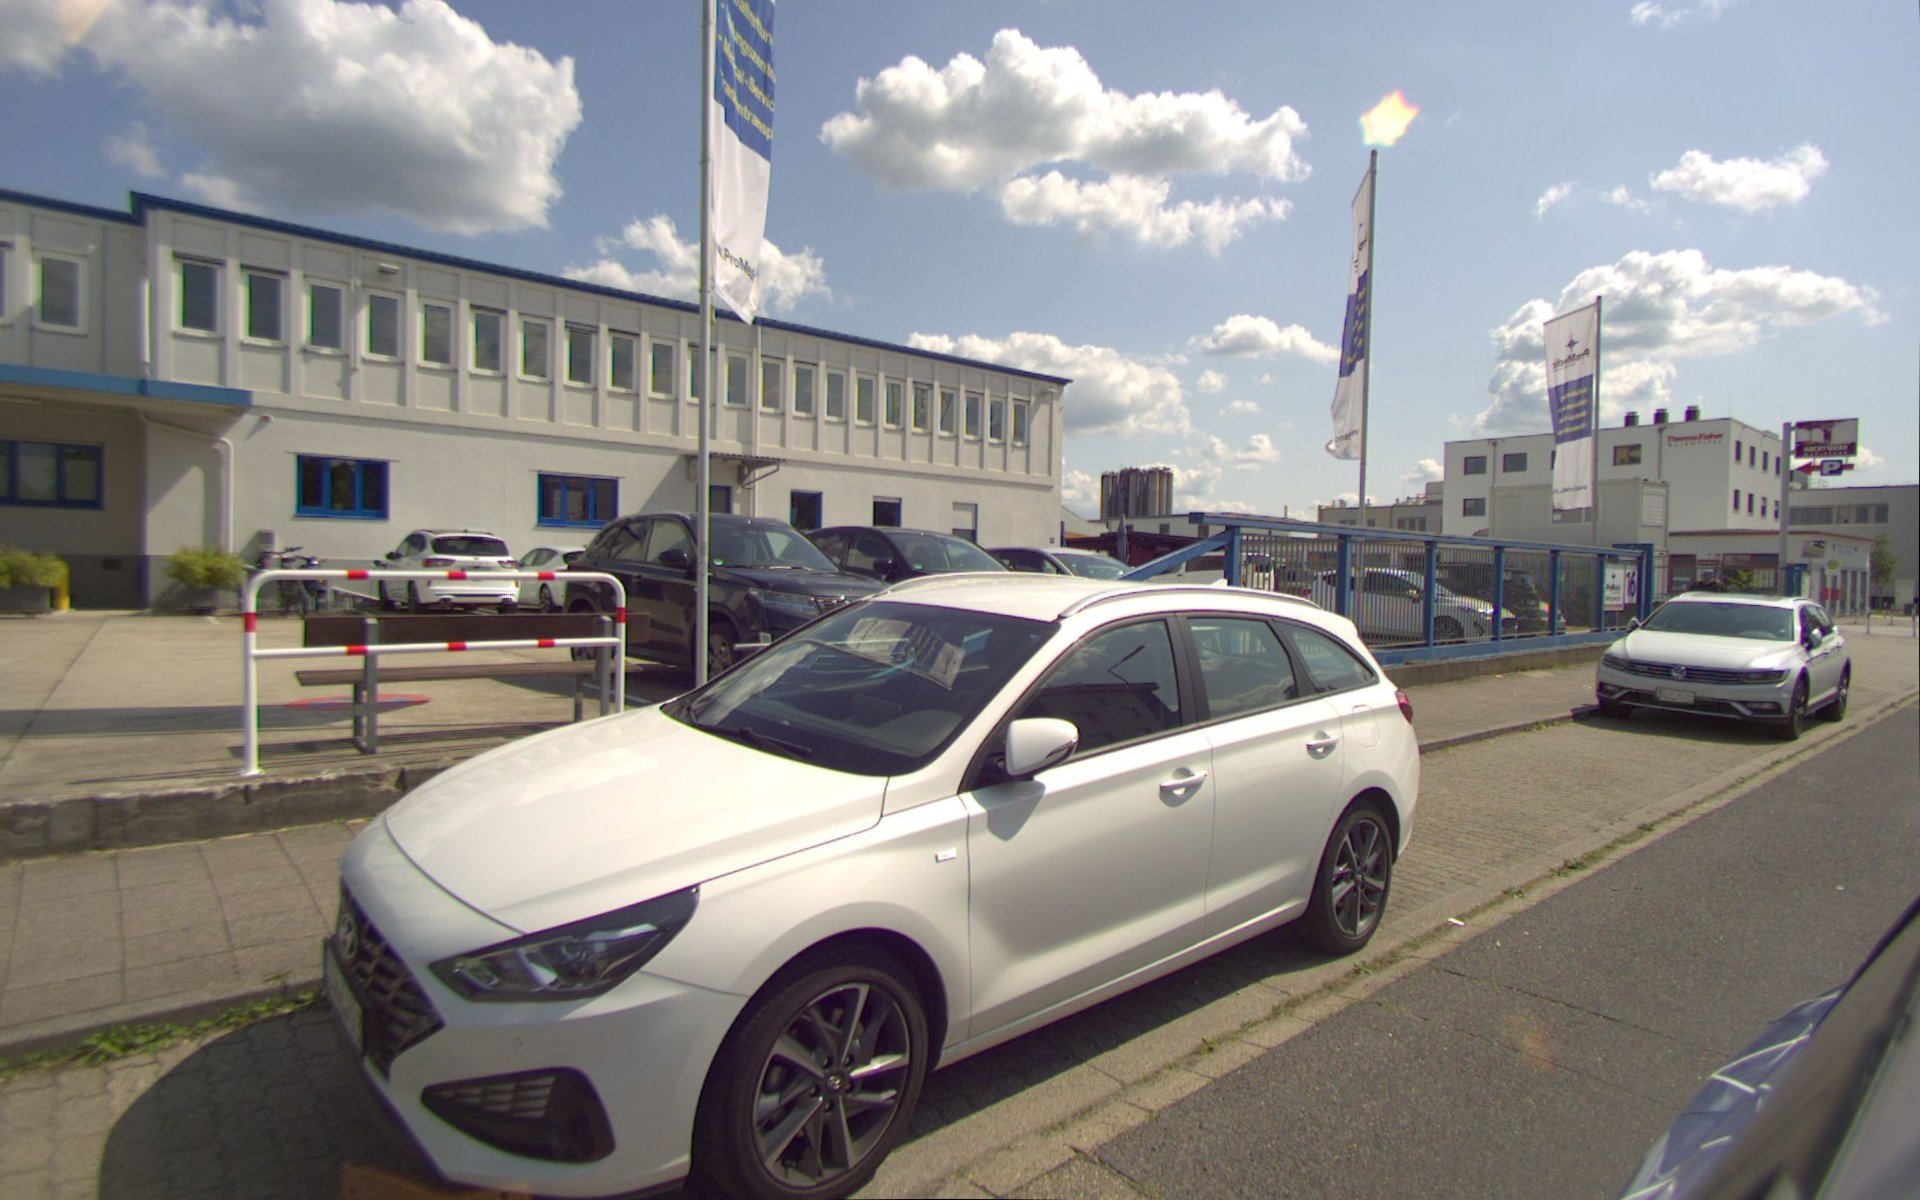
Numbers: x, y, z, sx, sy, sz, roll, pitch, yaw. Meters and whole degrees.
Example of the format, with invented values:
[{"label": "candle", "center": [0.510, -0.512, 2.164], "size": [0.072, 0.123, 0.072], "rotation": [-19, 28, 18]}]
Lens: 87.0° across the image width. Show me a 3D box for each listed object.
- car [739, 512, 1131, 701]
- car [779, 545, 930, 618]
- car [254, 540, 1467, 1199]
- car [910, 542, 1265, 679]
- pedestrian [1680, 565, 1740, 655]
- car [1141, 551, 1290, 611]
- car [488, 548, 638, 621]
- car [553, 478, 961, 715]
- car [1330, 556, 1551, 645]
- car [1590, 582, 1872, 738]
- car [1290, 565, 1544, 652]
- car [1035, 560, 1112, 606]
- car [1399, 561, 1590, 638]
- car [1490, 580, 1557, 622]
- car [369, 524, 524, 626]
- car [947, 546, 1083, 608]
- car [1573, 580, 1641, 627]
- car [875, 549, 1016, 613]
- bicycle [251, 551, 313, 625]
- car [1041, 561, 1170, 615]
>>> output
[{"label": "car", "center": [-0.446, -0.001, 11.200], "size": [2.111, 1.667, 4.232], "rotation": [0, 1, -42]}, {"label": "car", "center": [-2.765, -0.500, 25.874], "size": [1.901, 1.723, 3.995], "rotation": [0, 2, -41]}, {"label": "car", "center": [0.074, 0.632, 3.864], "size": [4.384, 1.539, 1.838], "rotation": [-1, 1, -42]}, {"label": "car", "center": [1.447, 0.028, 12.889], "size": [1.964, 1.437, 4.289], "rotation": [0, 2, -40]}, {"label": "pedestrian", "center": [15.461, 0.195, 20.865], "size": [0.773, 1.778, 0.771], "rotation": [0, 3, -41]}, {"label": "car", "center": [8.910, -0.671, 35.614], "size": [2.235, 1.961, 4.691], "rotation": [0, 1, -39]}, {"label": "car", "center": [-8.534, -0.363, 21.586], "size": [1.775, 1.417, 3.995], "rotation": [0, 2, -41]}, {"label": "car", "center": [-2.077, -0.084, 9.496], "size": [1.966, 1.707, 4.091], "rotation": [0, 1, -42]}, {"label": "car", "center": [9.987, -0.031, 21.224], "size": [1.760, 1.701, 3.813], "rotation": [0, 1, -41]}, {"label": "car", "center": [9.403, 0.556, 12.193], "size": [4.518, 1.539, 1.871], "rotation": [-1, 1, -42]}, {"label": "car", "center": [8.695, 0.088, 19.518], "size": [1.964, 1.437, 3.996], "rotation": [0, 2, -40]}, {"label": "car", "center": [4.661, -0.687, 41.480], "size": [3.109, 1.791, 1.415], "rotation": [-1, -1, -43]}, {"label": "car", "center": [12.129, -0.059, 23.114], "size": [1.760, 1.508, 3.411], "rotation": [0, 4, -41]}, {"label": "car", "center": [20.623, -0.012, 36.981], "size": [1.940, 1.394, 3.955], "rotation": [2, 2, 32]}, {"label": "car", "center": [-10.082, -0.499, 19.730], "size": [1.775, 1.761, 4.065], "rotation": [0, 2, -41]}, {"label": "car", "center": [1.573, -0.686, 30.051], "size": [1.775, 1.712, 3.995], "rotation": [0, 2, -41]}, {"label": "car", "center": [21.960, 0.064, 34.303], "size": [1.735, 1.459, 3.785], "rotation": [2, 2, 35]}, {"label": "car", "center": [-0.474, -0.549, 28.314], "size": [1.775, 1.650, 3.995], "rotation": [0, 2, -41]}, {"label": "bicycle", "center": [-11.901, -0.227, 17.743], "size": [0.630, 1.227, 2.228], "rotation": [0, 1, -41]}, {"label": "car", "center": [4.539, -0.414, 32.020], "size": [1.829, 1.504, 3.896], "rotation": [-1, 3, -36]}]
